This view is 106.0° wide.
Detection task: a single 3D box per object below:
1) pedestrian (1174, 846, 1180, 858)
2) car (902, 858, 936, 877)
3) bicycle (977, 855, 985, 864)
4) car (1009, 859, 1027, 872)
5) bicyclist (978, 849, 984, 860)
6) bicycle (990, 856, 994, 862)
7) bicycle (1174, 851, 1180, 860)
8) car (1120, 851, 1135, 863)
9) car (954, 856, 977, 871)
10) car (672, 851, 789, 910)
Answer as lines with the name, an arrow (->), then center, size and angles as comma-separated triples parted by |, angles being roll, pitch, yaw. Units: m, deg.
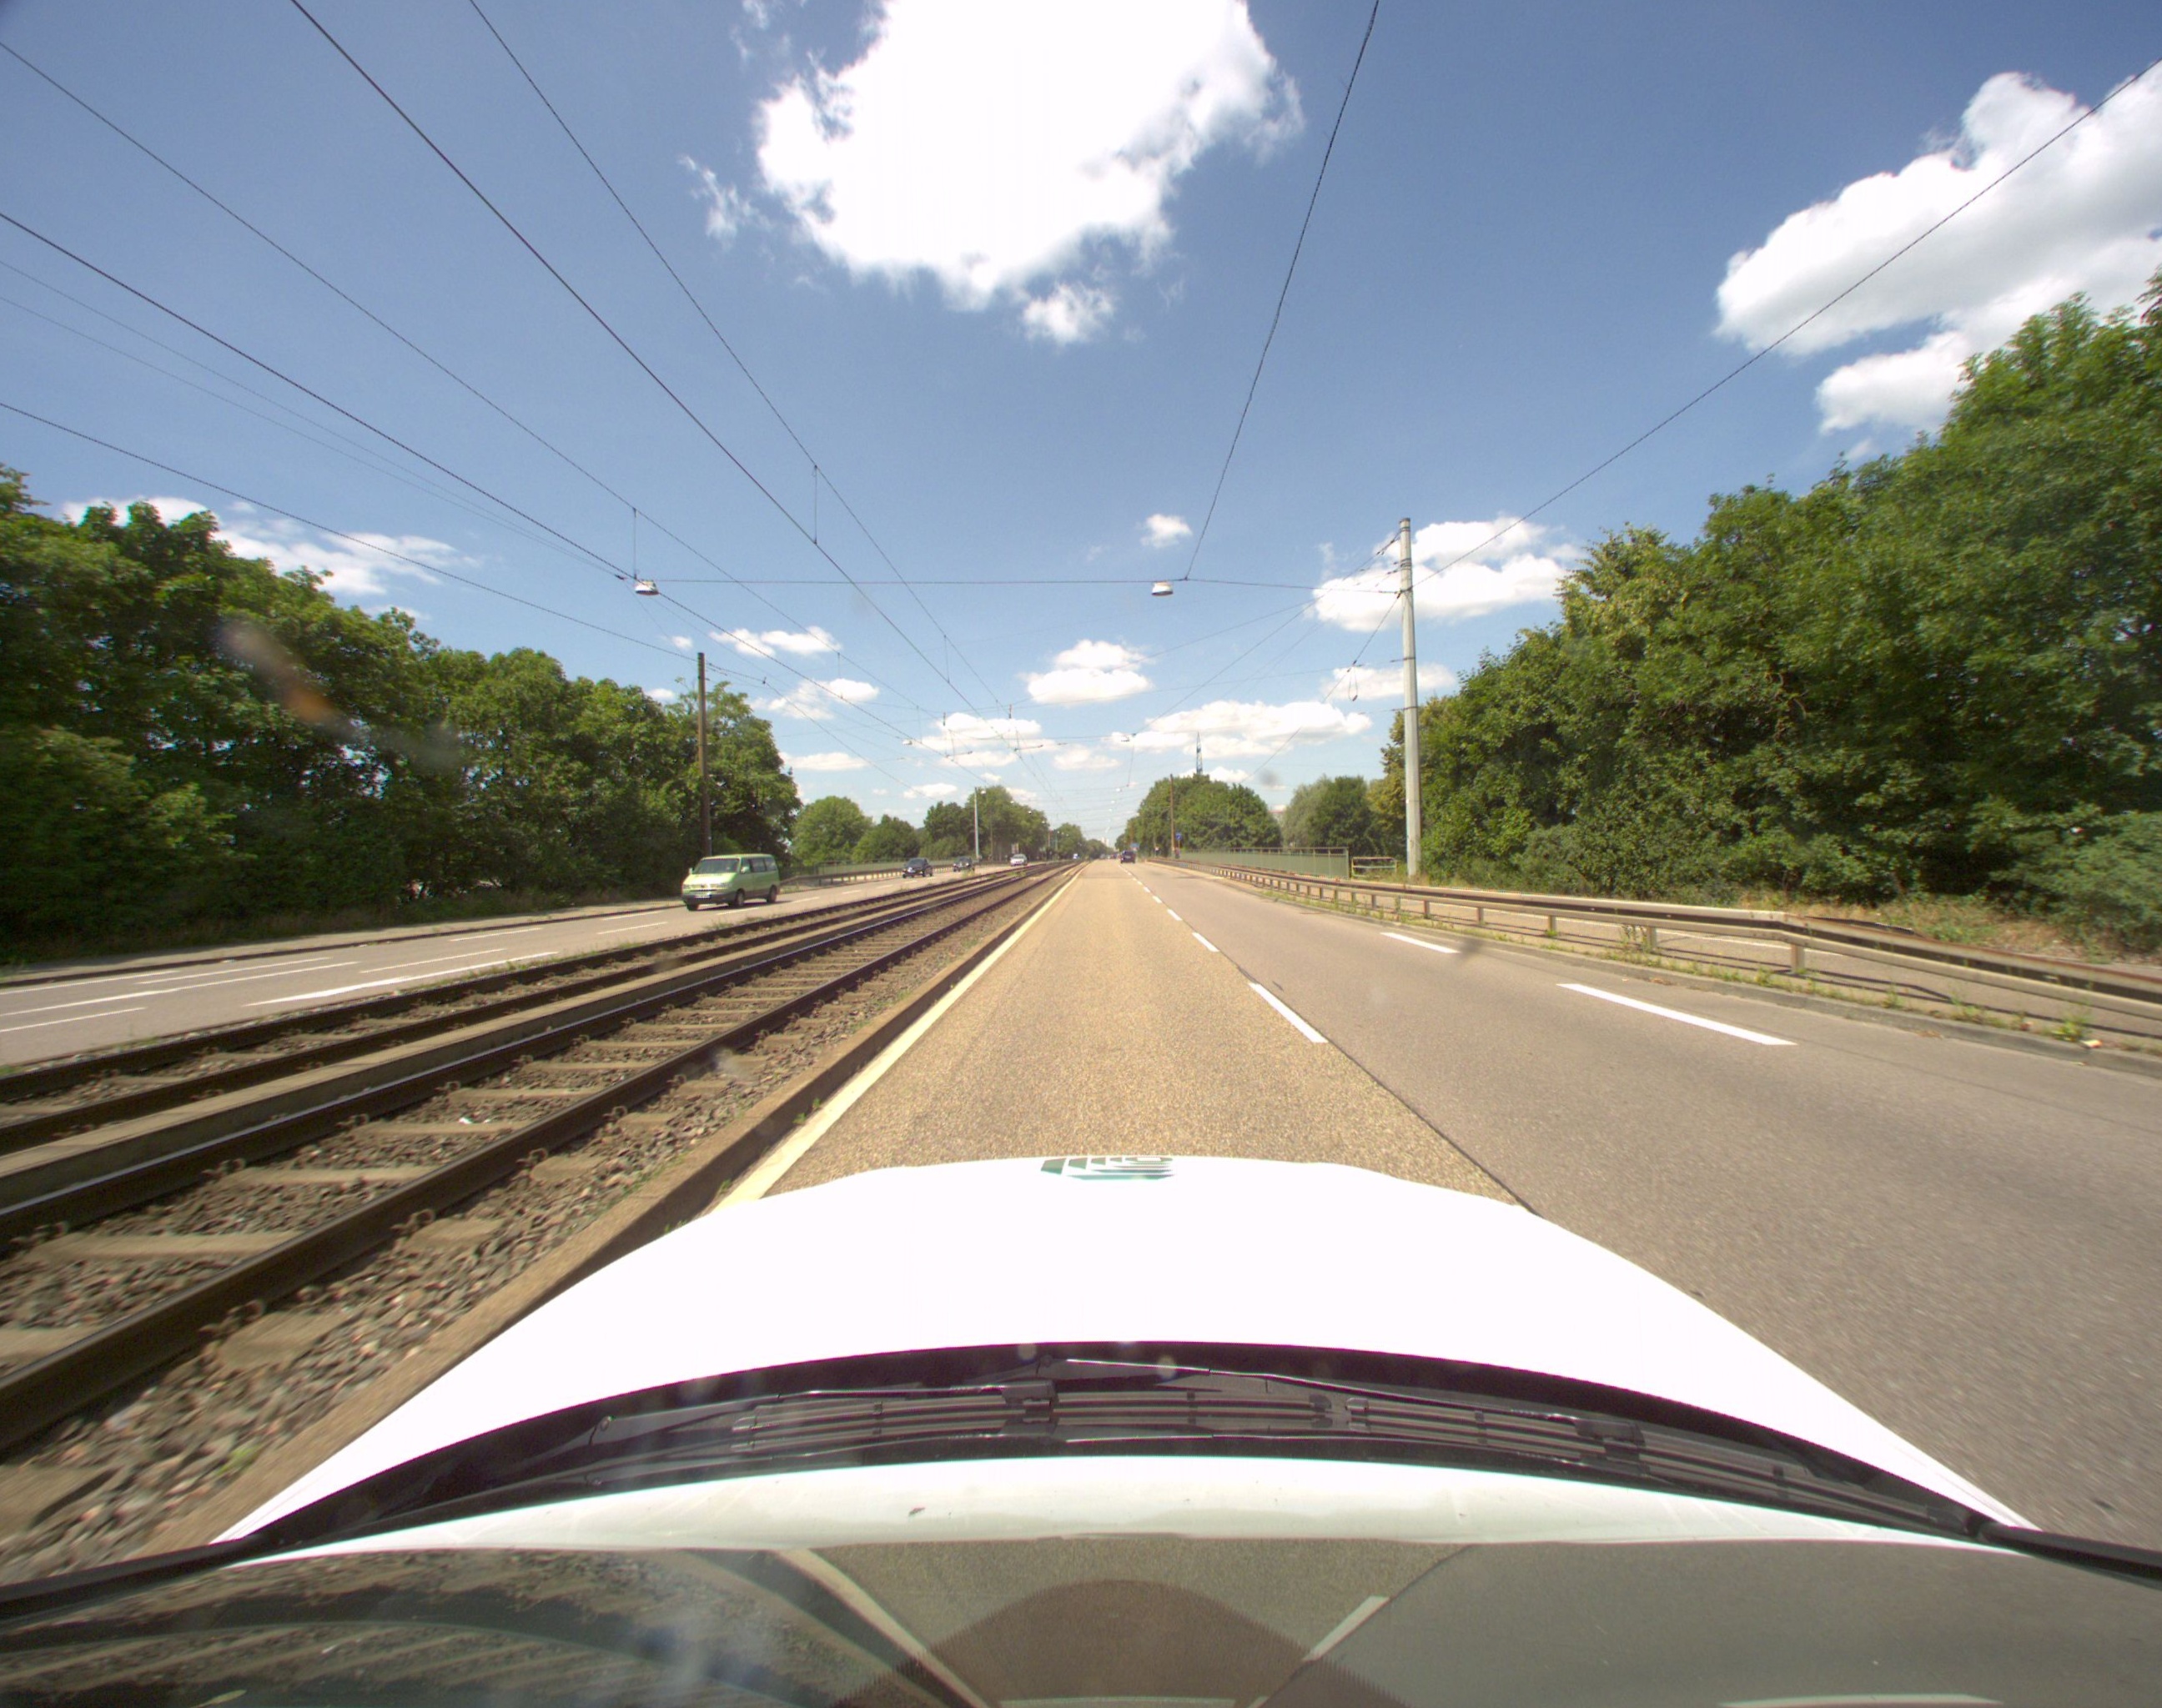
pedestrian -> 10.854, -0.238, 92.193 | 0.625, 1.374, 1.051 | -2, -1, 2
car -> -12.098, 0.987, 61.024 | 1.557, 1.347, 3.930 | -2, 0, 2
bicycle -> -14.531, 0.778, 117.970 | 0.854, 1.185, 2.062 | 0, 0, 1
car -> -7.770, 1.434, 101.219 | 1.704, 1.420, 4.626 | -2, 0, 2
bicyclist -> -14.499, 0.091, 118.099 | 0.760, 1.622, 0.838 | 0, 0, 1
bicycle -> -14.216, 0.781, 129.827 | 0.521, 0.843, 2.035 | 0, 0, -1
bicycle -> 10.867, 0.205, 92.194 | 0.557, 1.024, 1.848 | -2, -1, 2
car -> 5.658, 0.340, 99.081 | 1.581, 1.343, 3.272 | -2, 0, 0
car -> -11.332, 0.920, 79.991 | 1.568, 1.400, 3.939 | -2, 0, 1
car -> -12.631, 0.893, 29.783 | 1.804, 1.925, 5.181 | -2, 0, 2
